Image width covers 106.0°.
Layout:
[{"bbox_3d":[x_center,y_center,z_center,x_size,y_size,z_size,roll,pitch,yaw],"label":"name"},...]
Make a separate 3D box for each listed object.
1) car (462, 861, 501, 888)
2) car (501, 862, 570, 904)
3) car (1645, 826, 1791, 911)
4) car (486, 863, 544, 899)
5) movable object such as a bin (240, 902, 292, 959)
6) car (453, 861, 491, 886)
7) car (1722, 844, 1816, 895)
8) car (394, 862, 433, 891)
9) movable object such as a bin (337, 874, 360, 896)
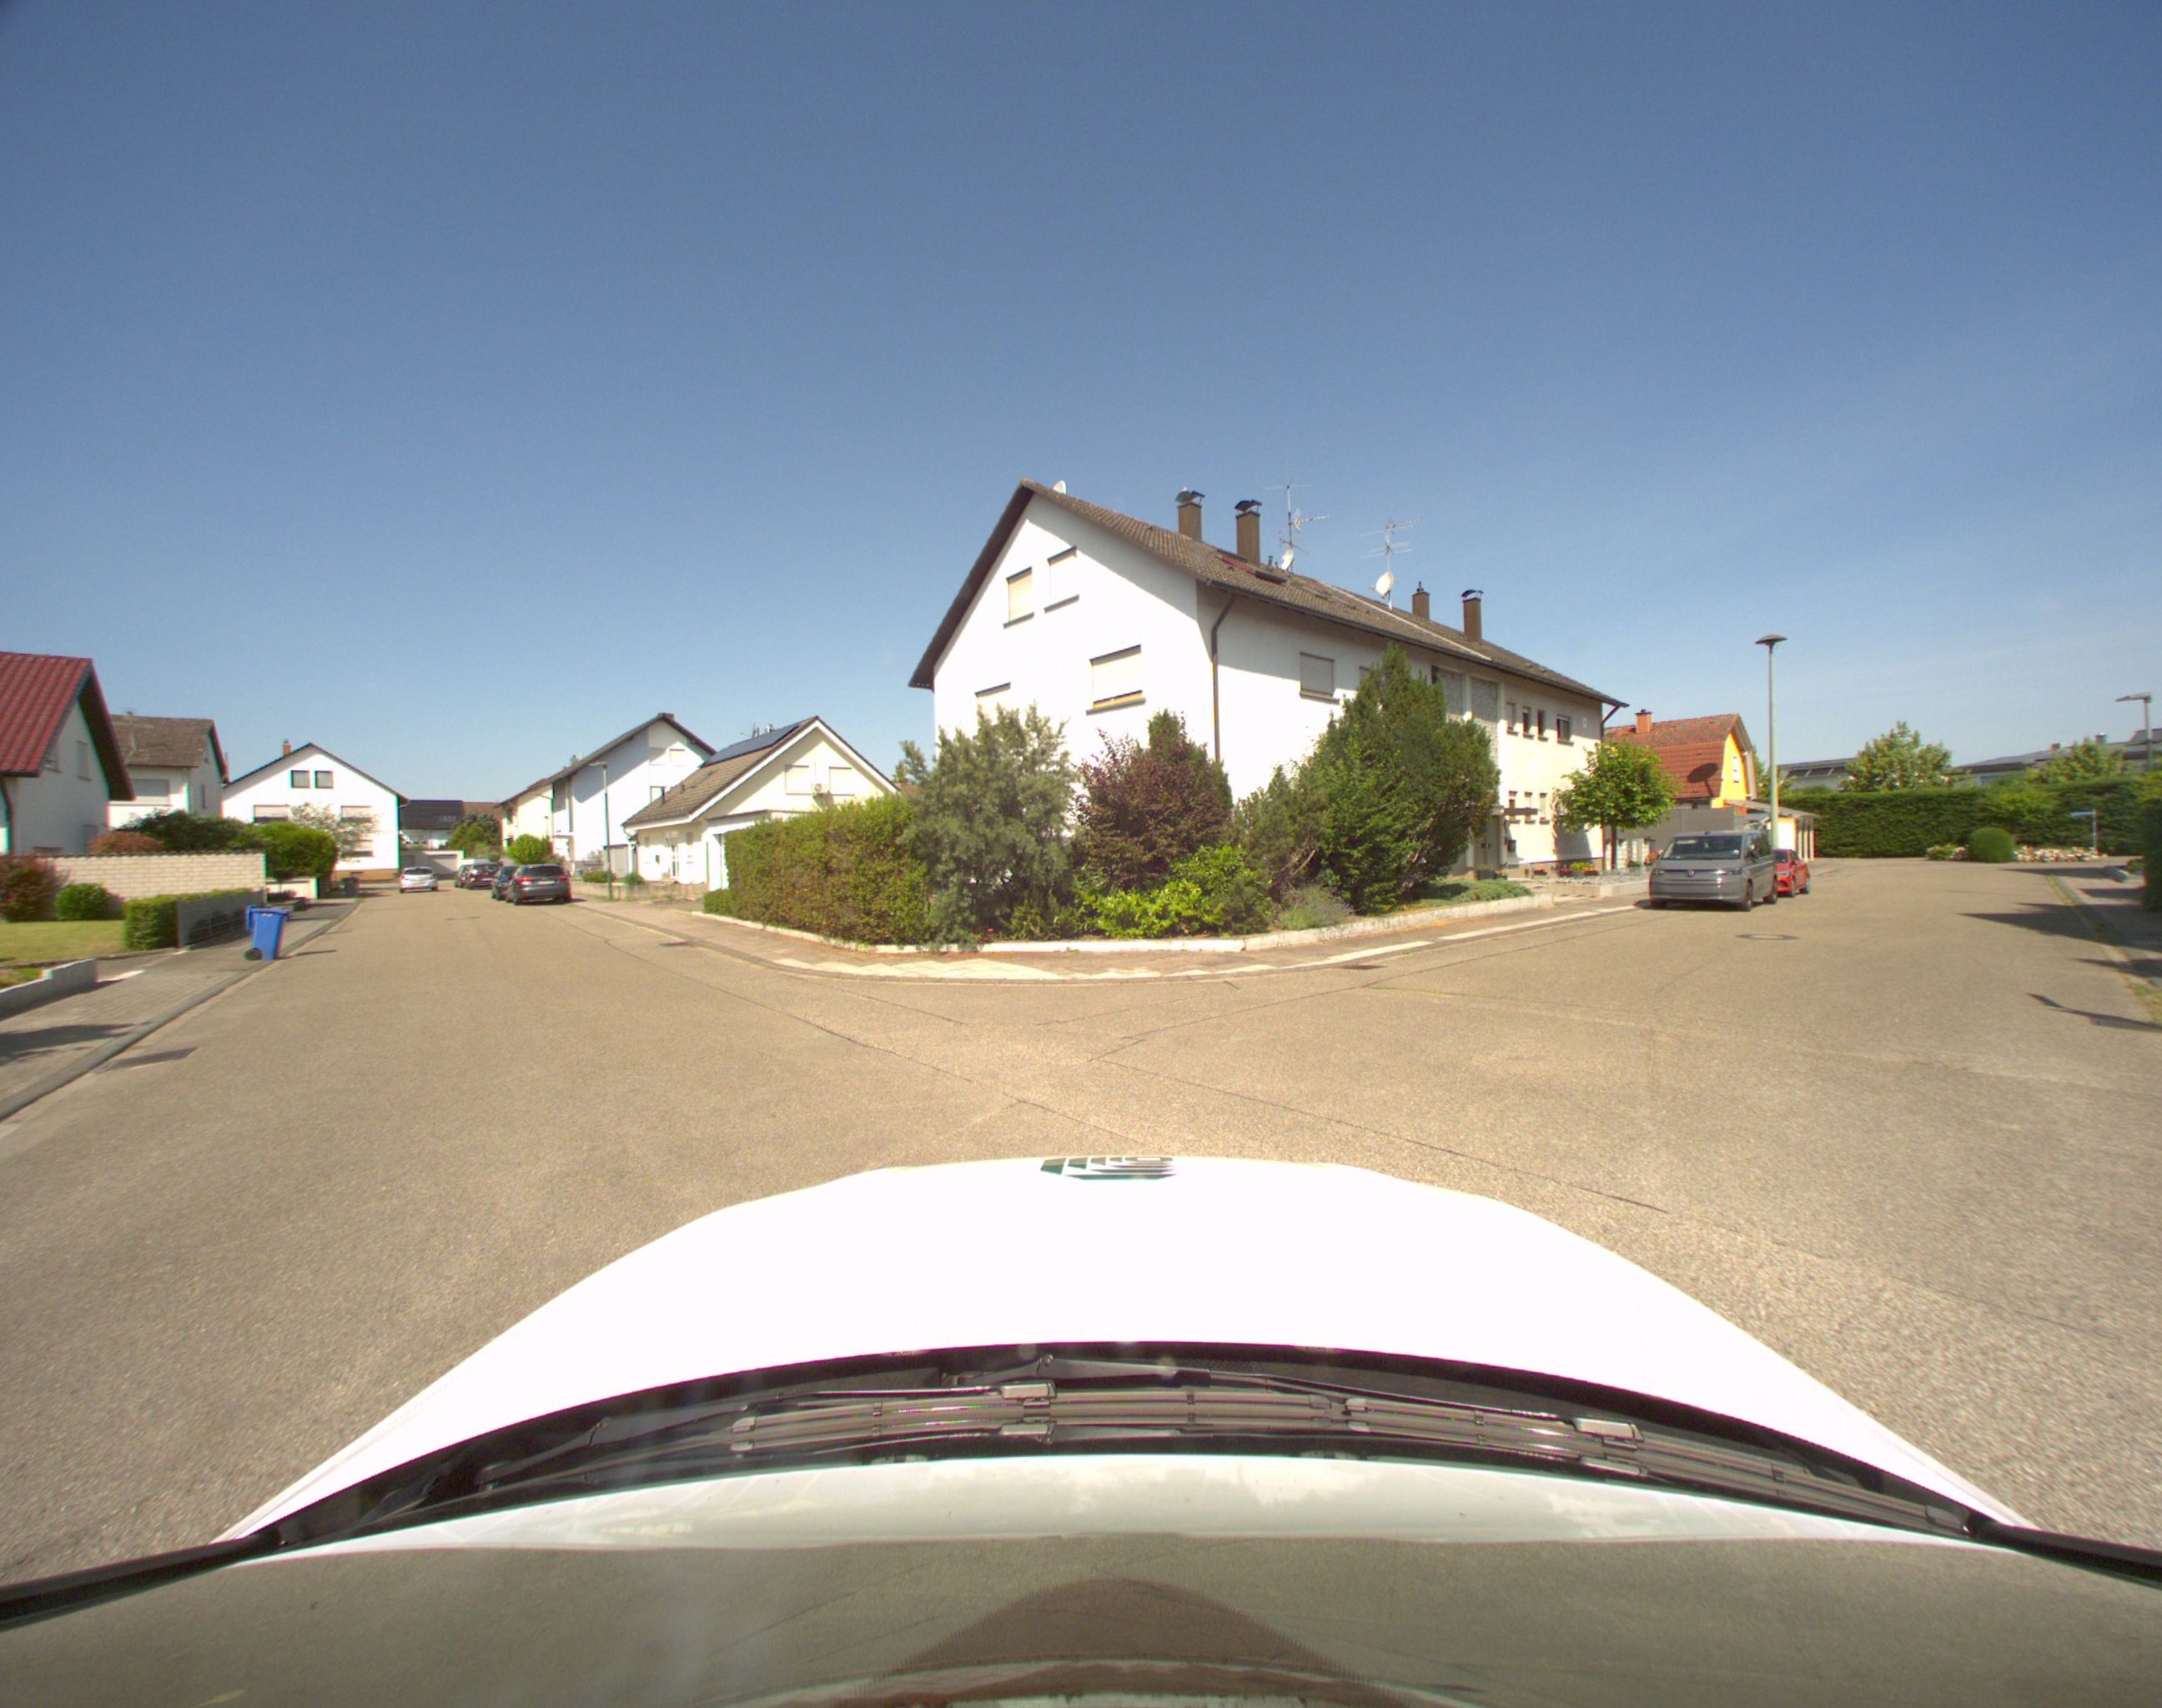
[{"bbox_3d":[-37.624,1.258,51.058,1.659,1.581,4.098,-2,1,-40],"label":"car"},{"bbox_3d":[-20.778,1.047,30.972,1.656,1.478,3.952,0,0,-41],"label":"car"},{"bbox_3d":[15.806,0.287,20.138,4.393,1.869,1.885,-2,0,-39],"label":"car"},{"bbox_3d":[-24.628,1.126,35.385,1.732,1.438,4.451,-2,1,-39],"label":"car"},{"bbox_3d":[-14.428,1.340,14.424,0.588,0.916,0.591,-1,0,-40],"label":"movable object such as a bin"},{"bbox_3d":[-40.925,1.262,54.696,1.660,1.546,3.998,-2,1,-42],"label":"car"},{"bbox_3d":[20.750,0.427,24.512,3.799,1.365,1.637,-1,0,-42],"label":"car"},{"bbox_3d":[-39.301,1.292,47.935,1.659,1.581,3.764,-2,1,-40],"label":"car"},{"bbox_3d":[-37.239,1.566,41.430,0.825,1.063,0.603,-2,1,-41],"label":"movable object such as a bin"}]
